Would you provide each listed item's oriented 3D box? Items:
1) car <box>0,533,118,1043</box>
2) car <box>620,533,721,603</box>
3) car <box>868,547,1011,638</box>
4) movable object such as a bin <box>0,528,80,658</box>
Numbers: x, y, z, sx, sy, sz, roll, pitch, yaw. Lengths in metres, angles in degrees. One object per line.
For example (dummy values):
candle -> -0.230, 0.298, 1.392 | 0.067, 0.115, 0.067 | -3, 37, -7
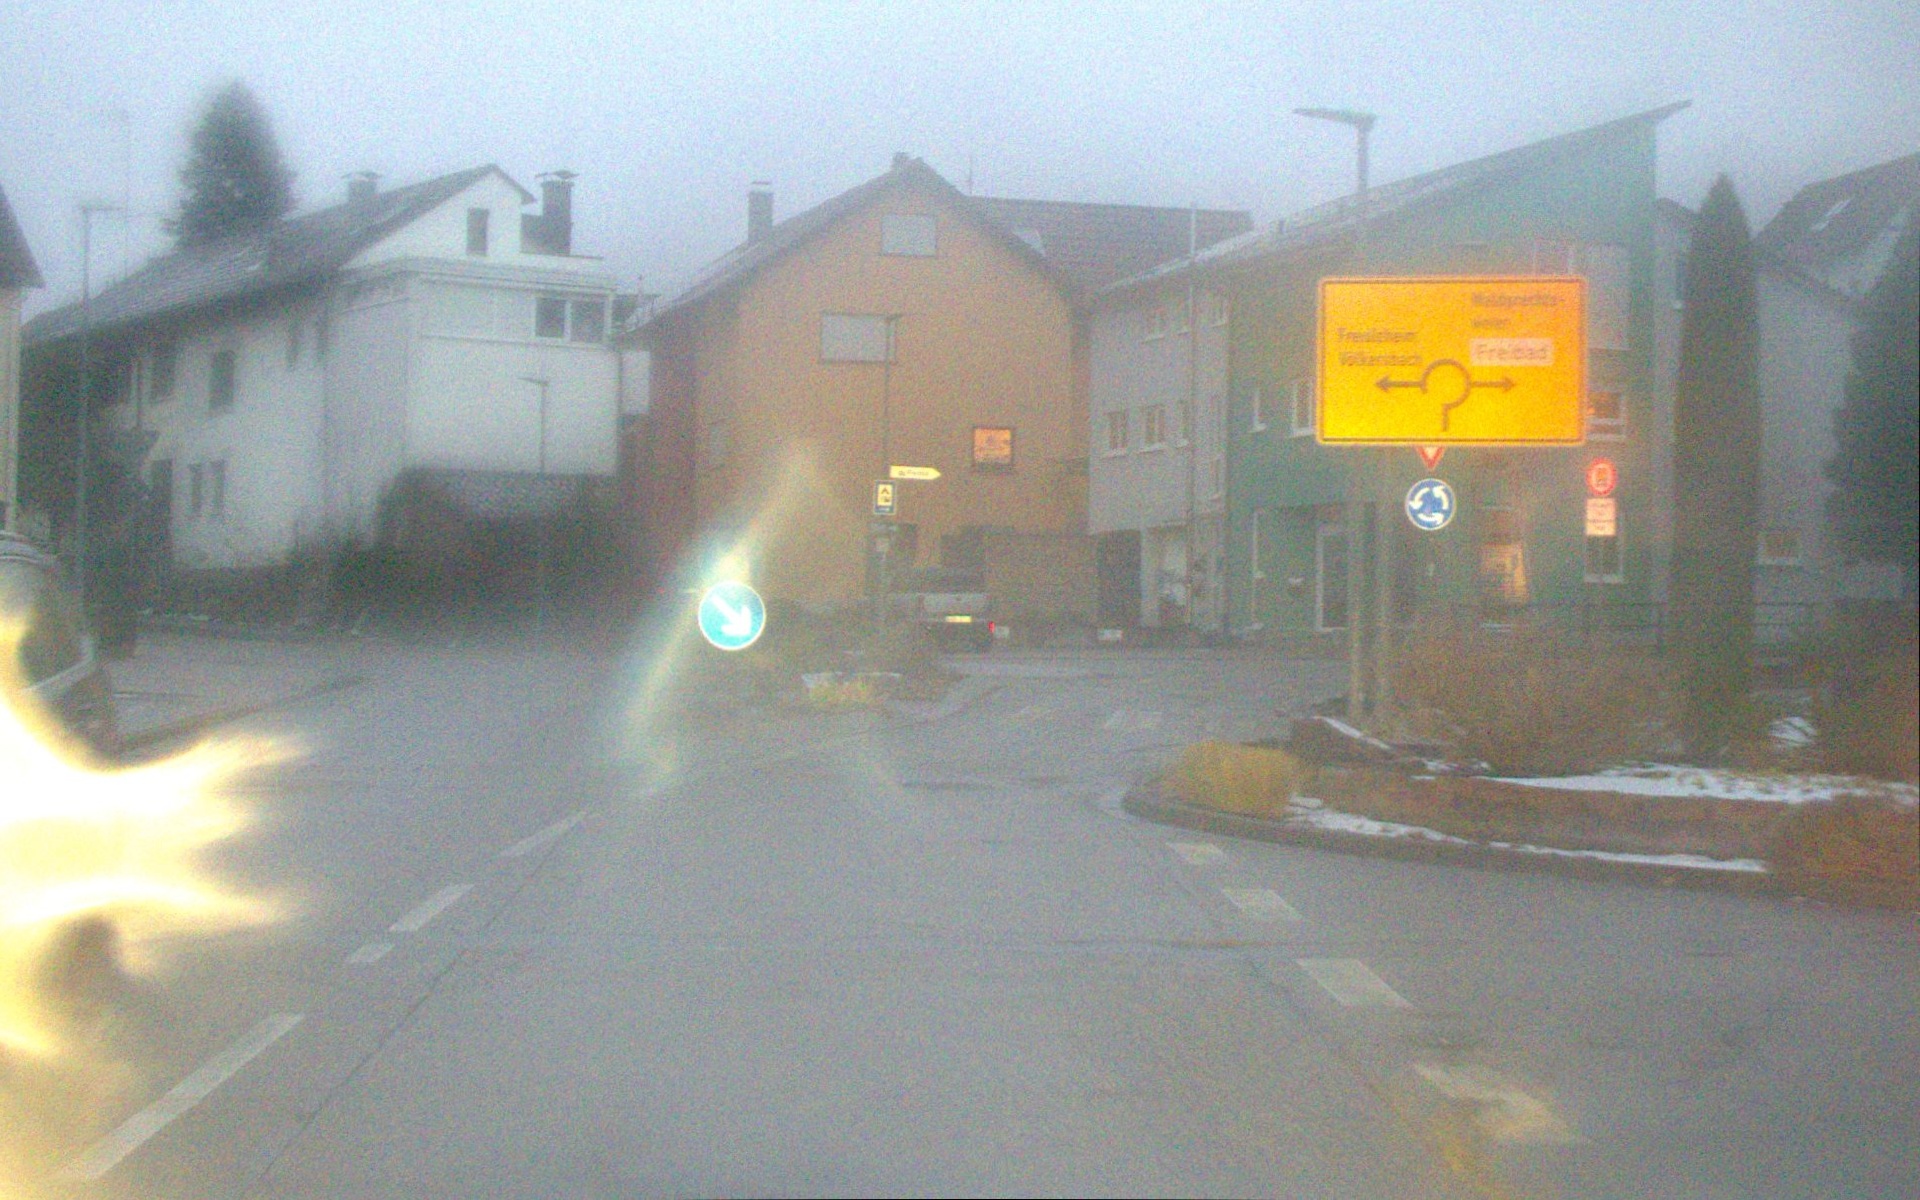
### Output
car -> -4.112, 0.599, 11.532 | 1.912, 1.647, 4.001 | 1, 1, -5
car -> -7.278, -0.808, 86.130 | 1.993, 1.638, 4.001 | 1, 1, -12
car -> -0.435, -0.167, 67.005 | 1.993, 1.638, 4.001 | 1, 1, -12
movable object such as a bin -> -11.273, -0.091, 41.372 | 1.096, 1.538, 1.289 | 1, 1, -4
